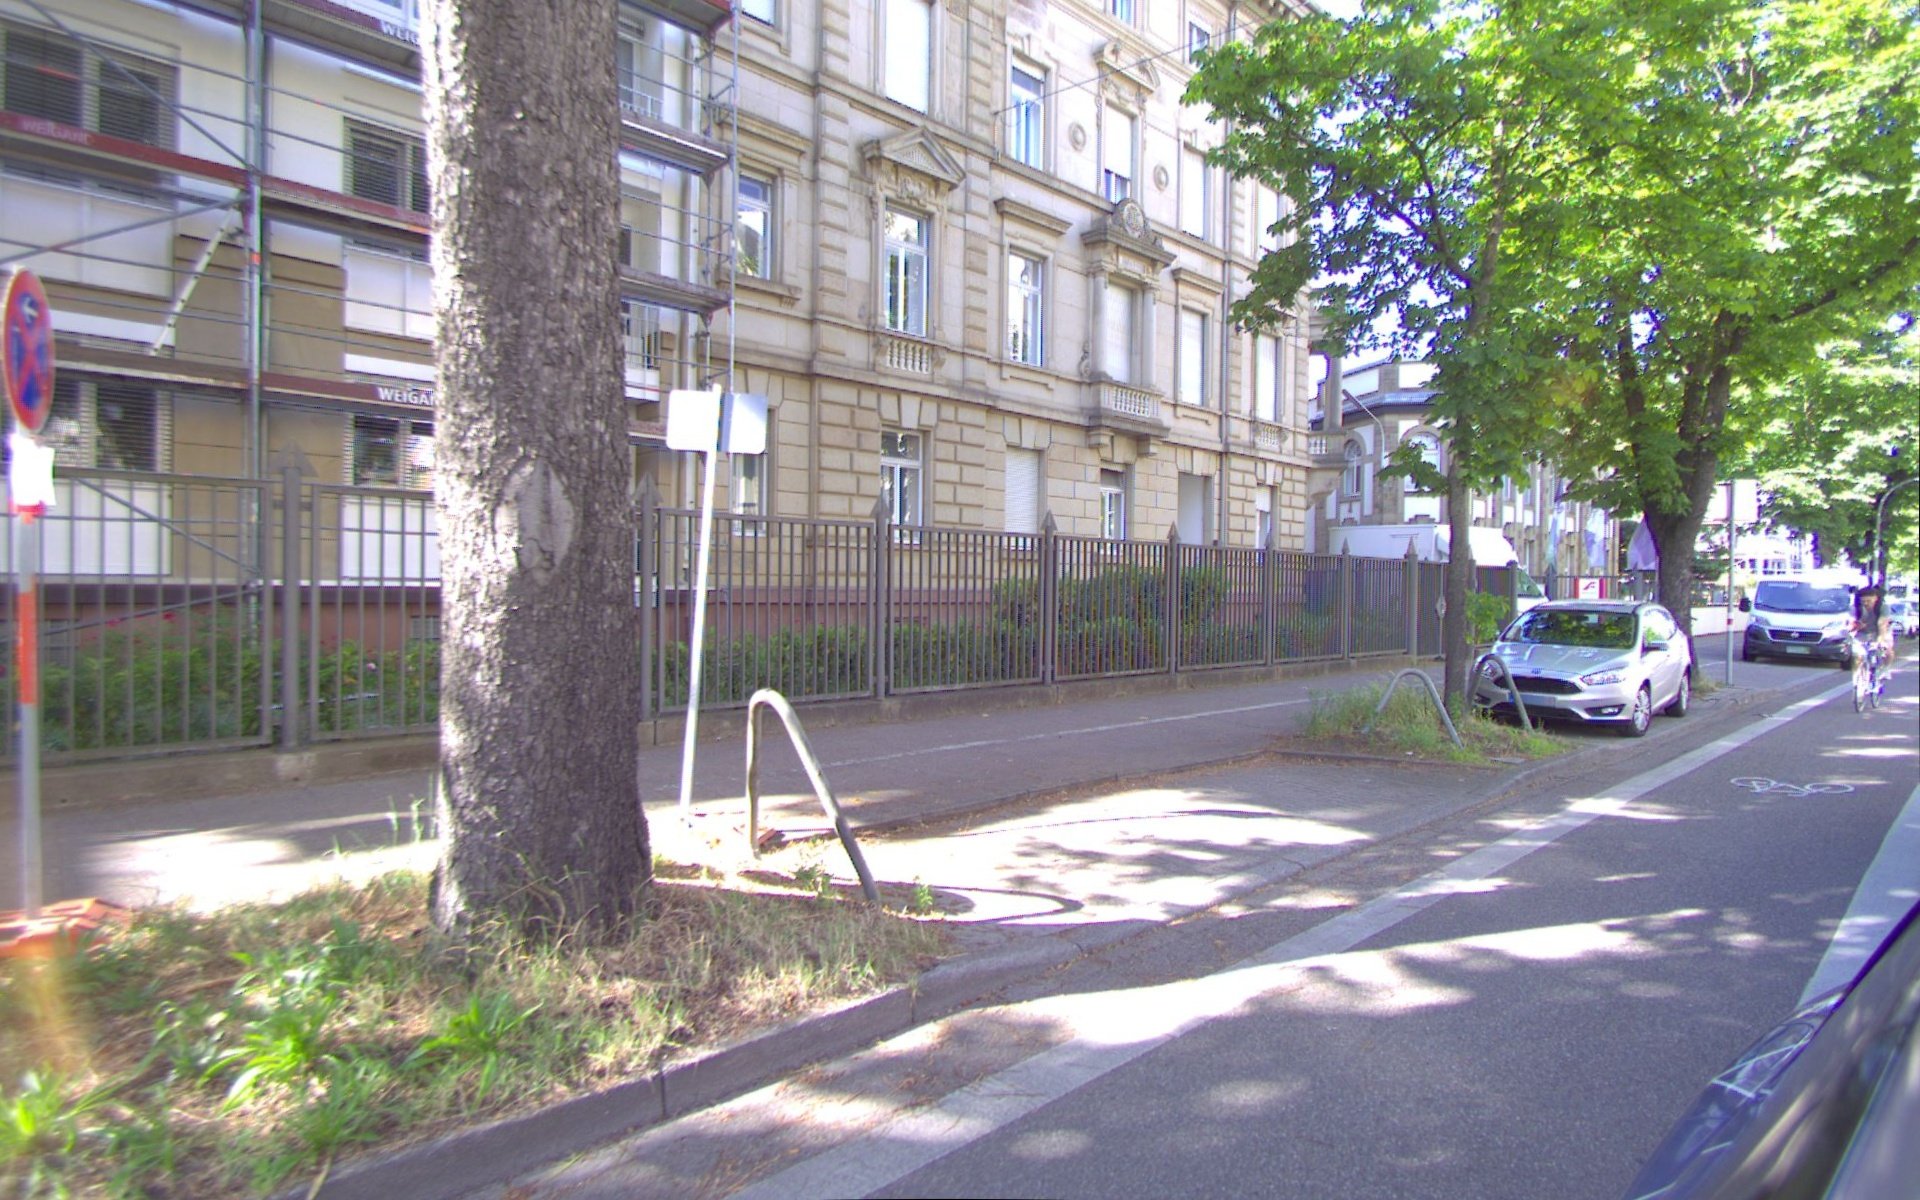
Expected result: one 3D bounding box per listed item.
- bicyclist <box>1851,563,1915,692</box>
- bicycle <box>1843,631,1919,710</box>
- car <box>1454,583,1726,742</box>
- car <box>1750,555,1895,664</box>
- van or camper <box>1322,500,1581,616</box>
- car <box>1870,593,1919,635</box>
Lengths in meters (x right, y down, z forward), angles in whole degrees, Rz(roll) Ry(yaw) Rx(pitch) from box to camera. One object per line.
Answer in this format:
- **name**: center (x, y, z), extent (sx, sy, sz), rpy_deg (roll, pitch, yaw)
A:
- **bicyclist**: center (12.616, 0.355, 13.834), extent (0.862, 1.691, 0.532), rpy_deg (-1, 0, -40)
- **bicycle**: center (12.659, 0.934, 13.873), extent (2.021, 0.933, 0.535), rpy_deg (-1, 0, -40)
- **car**: center (7.955, 0.608, 12.611), extent (4.294, 1.562, 1.874), rpy_deg (-1, 3, -44)
- **car**: center (21.345, 0.130, 24.944), extent (5.710, 2.371, 2.128), rpy_deg (-1, 3, -44)
- **van or camper**: center (12.611, -0.998, 26.719), extent (2.078, 2.660, 6.752), rpy_deg (-1, 1, -17)
- **car**: center (37.795, 0.529, 40.439), extent (4.035, 1.569, 1.863), rpy_deg (-1, 1, -44)
